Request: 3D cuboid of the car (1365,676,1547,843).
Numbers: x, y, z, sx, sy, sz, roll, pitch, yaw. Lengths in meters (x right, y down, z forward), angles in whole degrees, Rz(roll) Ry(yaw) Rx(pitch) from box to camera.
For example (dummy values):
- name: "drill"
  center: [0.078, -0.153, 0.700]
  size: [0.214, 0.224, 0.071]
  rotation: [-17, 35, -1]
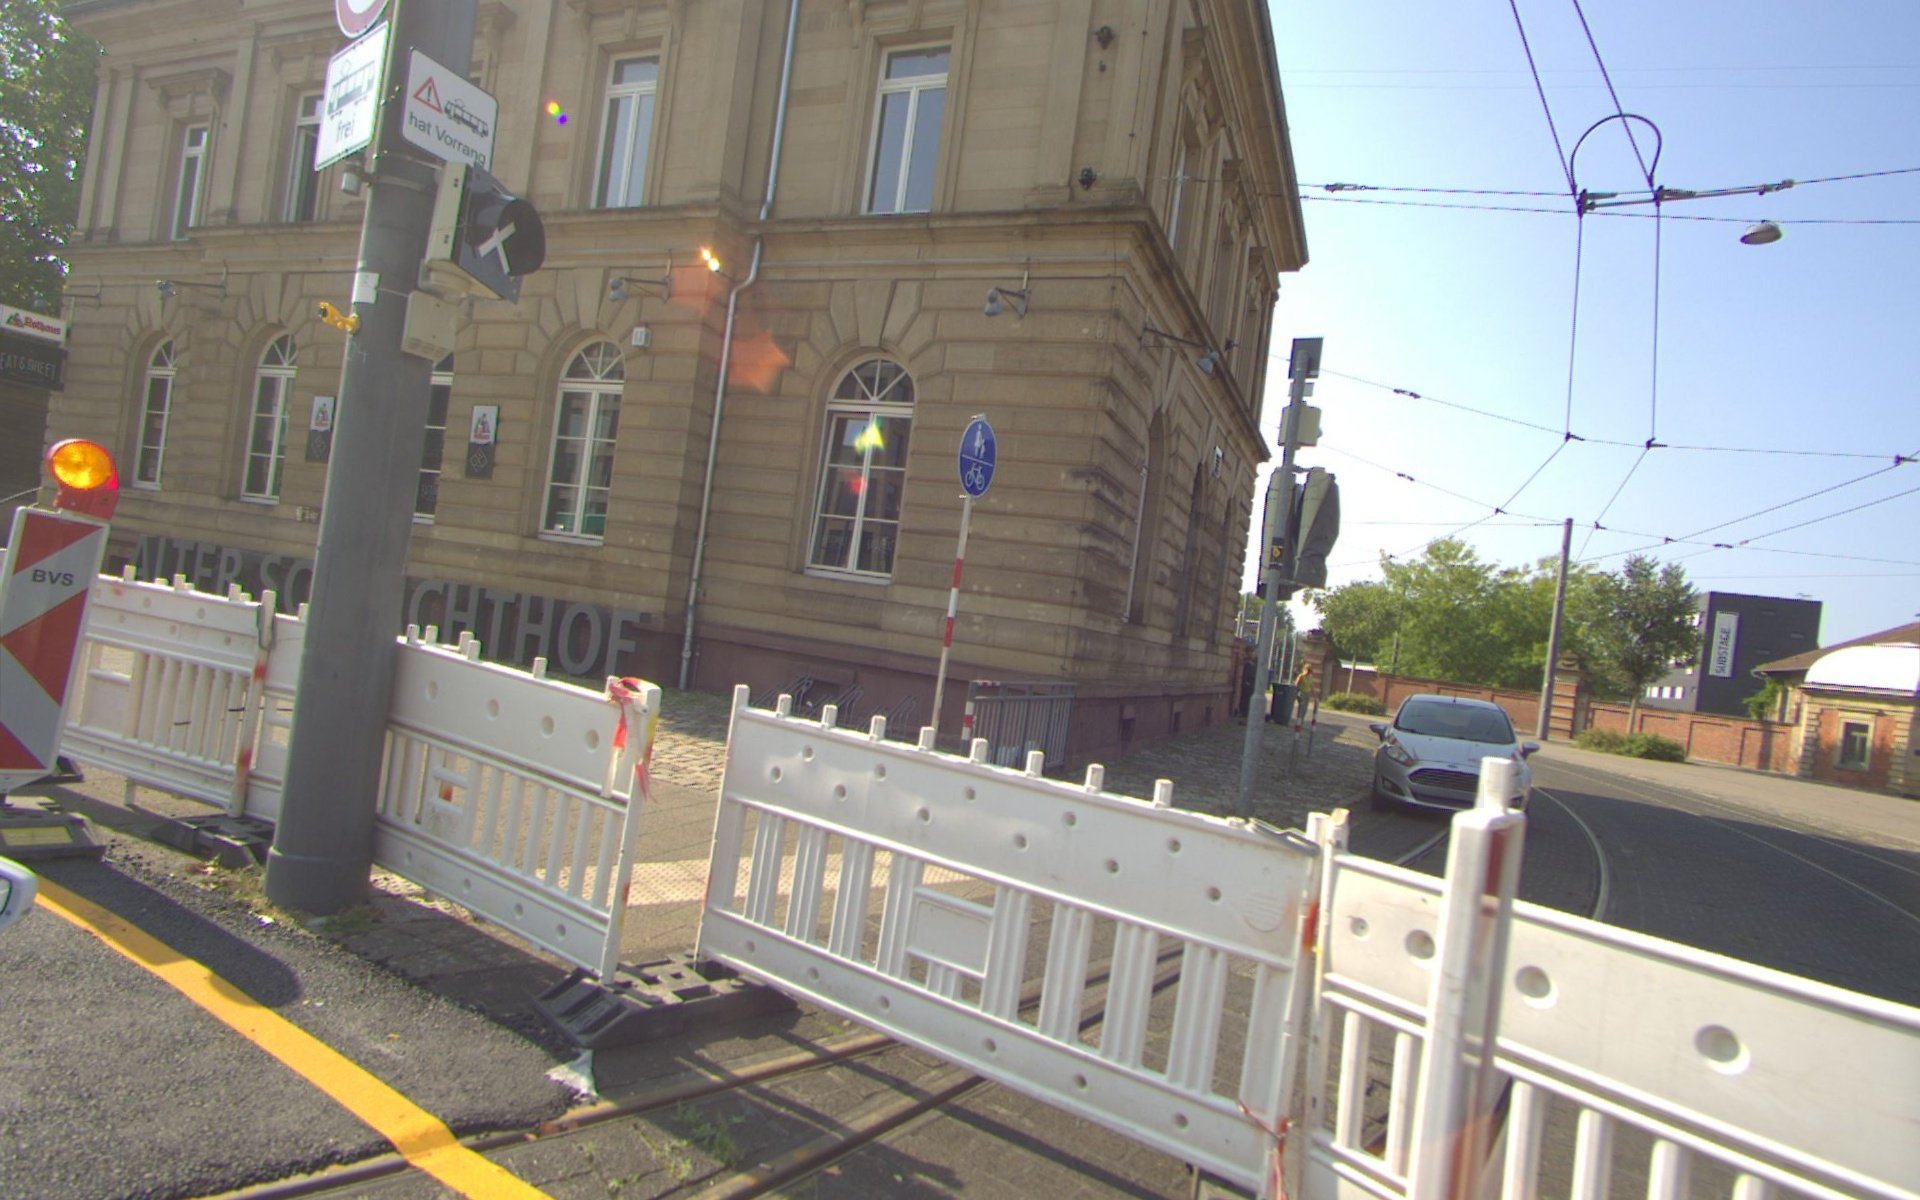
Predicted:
- name: "car"
  center: [6.359, 1.872, 12.828]
  size: [1.636, 1.555, 4.007]
  rotation: [7, -1, 29]

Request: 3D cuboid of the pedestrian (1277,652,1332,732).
- name: "pedestrian"
  center: [8.867, 2.360, 25.941]
  size: [1.018, 1.886, 0.671]
  rotation: [7, 0, 10]

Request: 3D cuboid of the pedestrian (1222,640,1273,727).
- name: "pedestrian"
  center: [6.669, 1.928, 23.318]
  size: [0.853, 1.886, 0.671]
  rotation: [7, 0, 22]
